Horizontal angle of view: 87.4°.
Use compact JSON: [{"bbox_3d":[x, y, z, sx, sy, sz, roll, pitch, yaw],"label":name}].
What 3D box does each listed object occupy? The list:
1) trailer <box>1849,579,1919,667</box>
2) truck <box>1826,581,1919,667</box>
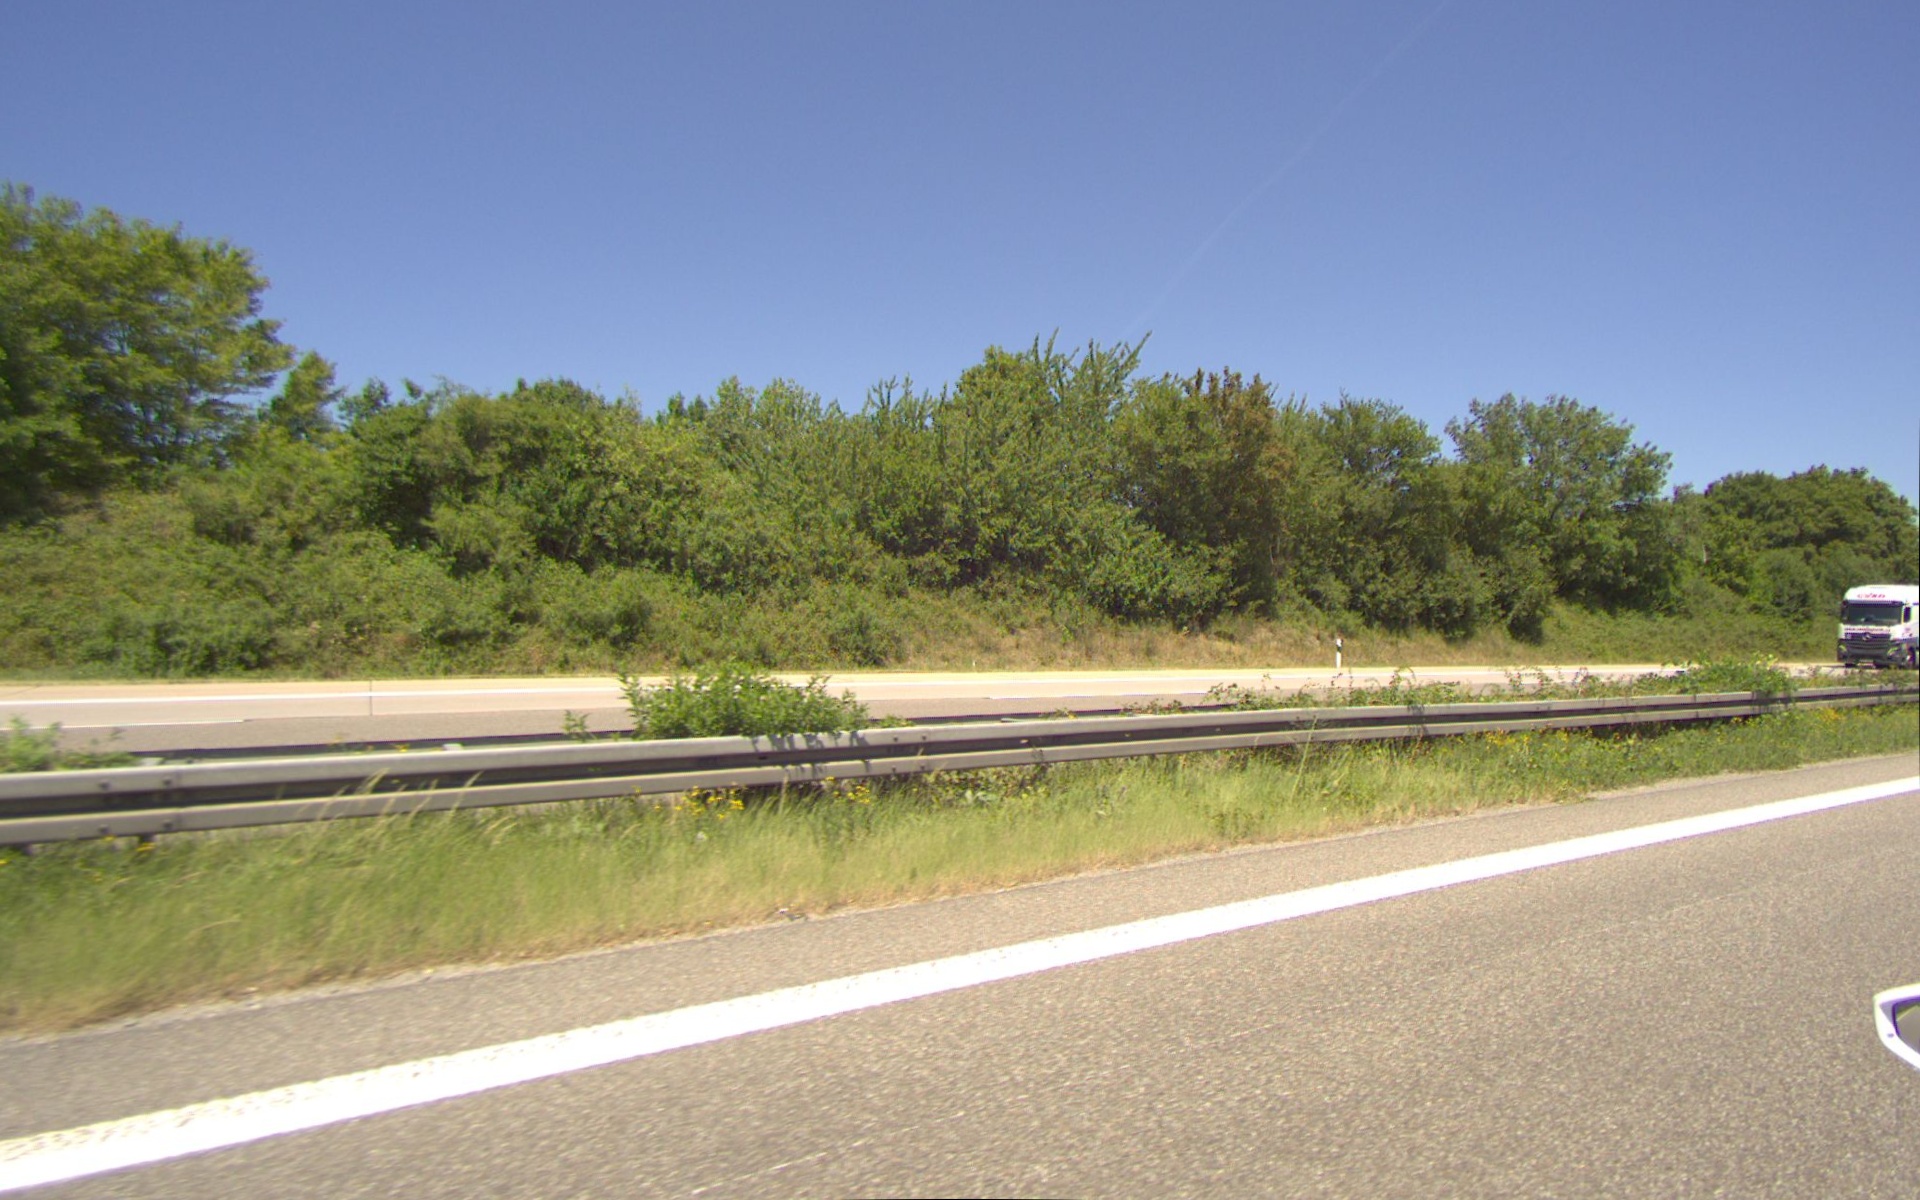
[{"bbox_3d":[51.387,1.333,52.895,13.397,4.239,2.694,2,-2,-30],"label":"trailer"},{"bbox_3d":[45.037,1.223,49.233,4.391,4.018,2.689,2,-2,-30],"label":"truck"}]
